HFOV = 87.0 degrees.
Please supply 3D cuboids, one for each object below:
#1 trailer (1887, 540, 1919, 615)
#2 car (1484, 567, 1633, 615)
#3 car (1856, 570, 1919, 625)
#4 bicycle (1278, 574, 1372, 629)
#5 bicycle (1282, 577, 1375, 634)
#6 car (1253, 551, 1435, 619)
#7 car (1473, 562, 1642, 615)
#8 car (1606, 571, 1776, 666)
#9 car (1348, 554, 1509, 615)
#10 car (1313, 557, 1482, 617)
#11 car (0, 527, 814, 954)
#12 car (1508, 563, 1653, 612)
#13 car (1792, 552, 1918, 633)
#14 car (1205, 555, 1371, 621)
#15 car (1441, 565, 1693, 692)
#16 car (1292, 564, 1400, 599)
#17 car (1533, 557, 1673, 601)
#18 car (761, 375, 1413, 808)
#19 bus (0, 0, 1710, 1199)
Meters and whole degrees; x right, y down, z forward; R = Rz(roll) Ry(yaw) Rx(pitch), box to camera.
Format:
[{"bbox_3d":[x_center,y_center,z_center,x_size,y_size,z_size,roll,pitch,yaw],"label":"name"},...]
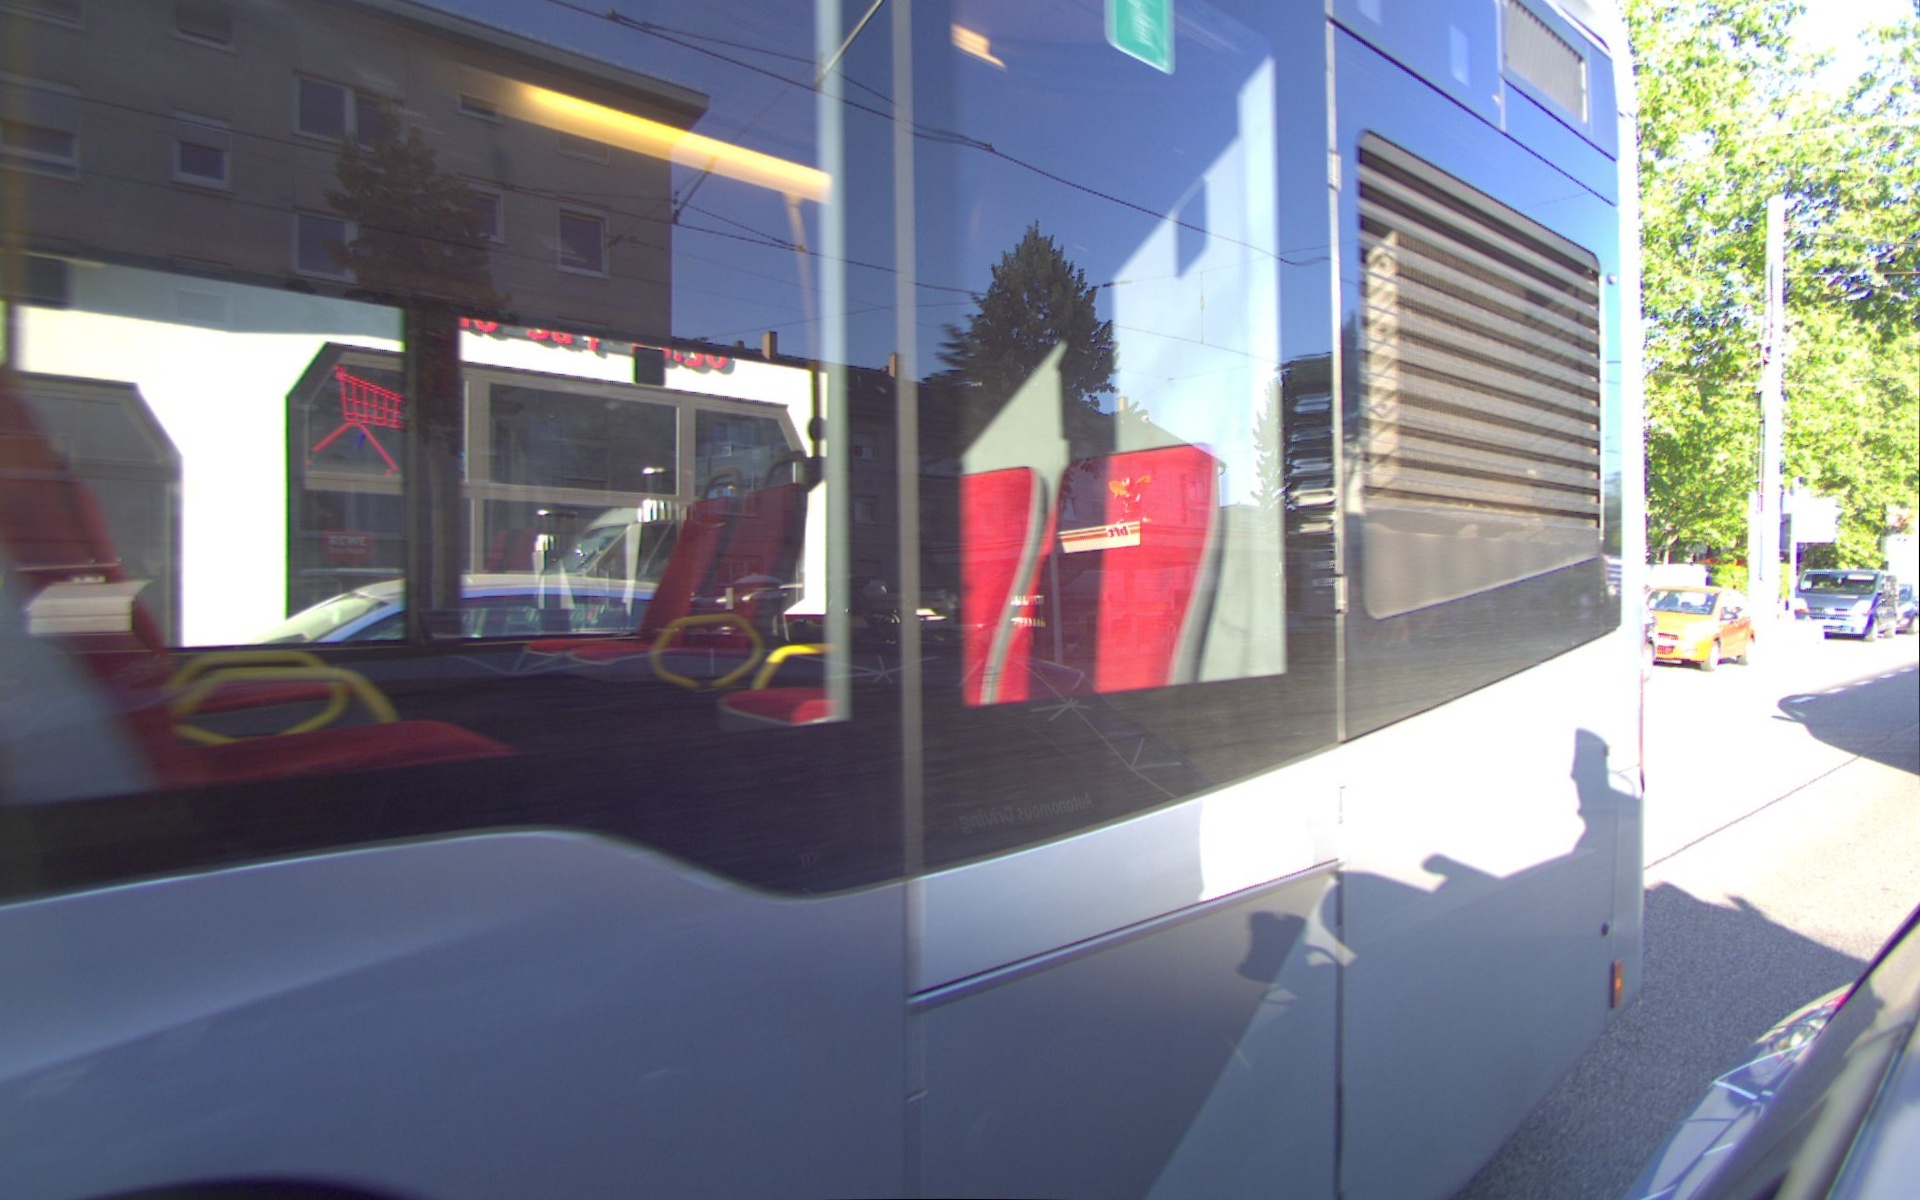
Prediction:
[{"bbox_3d":[35.389,-0.817,36.717,4.567,2.620,1.890,-1,2,-39],"label":"trailer"},{"bbox_3d":[20.807,-0.364,35.329,1.769,1.513,4.124,0,2,-37],"label":"car"},{"bbox_3d":[30.292,-0.103,32.370,3.928,1.650,1.800,-1,2,-39],"label":"car"},{"bbox_3d":[7.163,0.020,19.927,1.655,1.026,0.649,1,2,14],"label":"bicycle"},{"bbox_3d":[6.977,0.088,19.209,1.559,1.026,0.649,1,2,14],"label":"bicycle"},{"bbox_3d":[9.891,-0.329,26.300,1.823,1.621,4.029,0,-1,-39],"label":"car"},{"bbox_3d":[18.443,-0.403,31.387,1.769,1.513,4.124,0,2,-37],"label":"car"},{"bbox_3d":[13.448,0.269,18.573,3.561,1.512,1.574,-1,5,-39],"label":"car"},{"bbox_3d":[13.536,-0.429,29.389,1.822,1.652,3.850,0,0,-37],"label":"car"},{"bbox_3d":[11.952,-0.309,27.846,1.822,1.514,3.850,-1,-1,-37],"label":"car"},{"bbox_3d":[-2.888,0.476,5.563,3.717,1.607,1.843,-1,3,-39],"label":"car"},{"bbox_3d":[22.506,-0.500,36.831,1.769,1.618,4.124,0,2,-37],"label":"car"},{"bbox_3d":[25.247,-0.251,28.505,4.481,2.104,1.889,-1,2,-39],"label":"car"},{"bbox_3d":[7.992,-0.245,24.862,1.742,1.501,3.504,0,-1,-39],"label":"car"},{"bbox_3d":[9.171,0.316,15.132,4.569,1.549,1.702,-1,5,-39],"label":"car"},{"bbox_3d":[18.068,-0.909,47.483,1.966,1.514,4.288,-1,2,-42],"label":"car"},{"bbox_3d":[24.179,-0.750,38.184,1.769,1.570,4.122,0,0,-37],"label":"car"},{"bbox_3d":[1.375,-0.163,8.607,5.681,2.581,2.023,-1,6,-39],"label":"car"},{"bbox_3d":[-2.381,-0.102,0.832,8.694,3.094,2.745,-1,1,-39],"label":"bus"}]
